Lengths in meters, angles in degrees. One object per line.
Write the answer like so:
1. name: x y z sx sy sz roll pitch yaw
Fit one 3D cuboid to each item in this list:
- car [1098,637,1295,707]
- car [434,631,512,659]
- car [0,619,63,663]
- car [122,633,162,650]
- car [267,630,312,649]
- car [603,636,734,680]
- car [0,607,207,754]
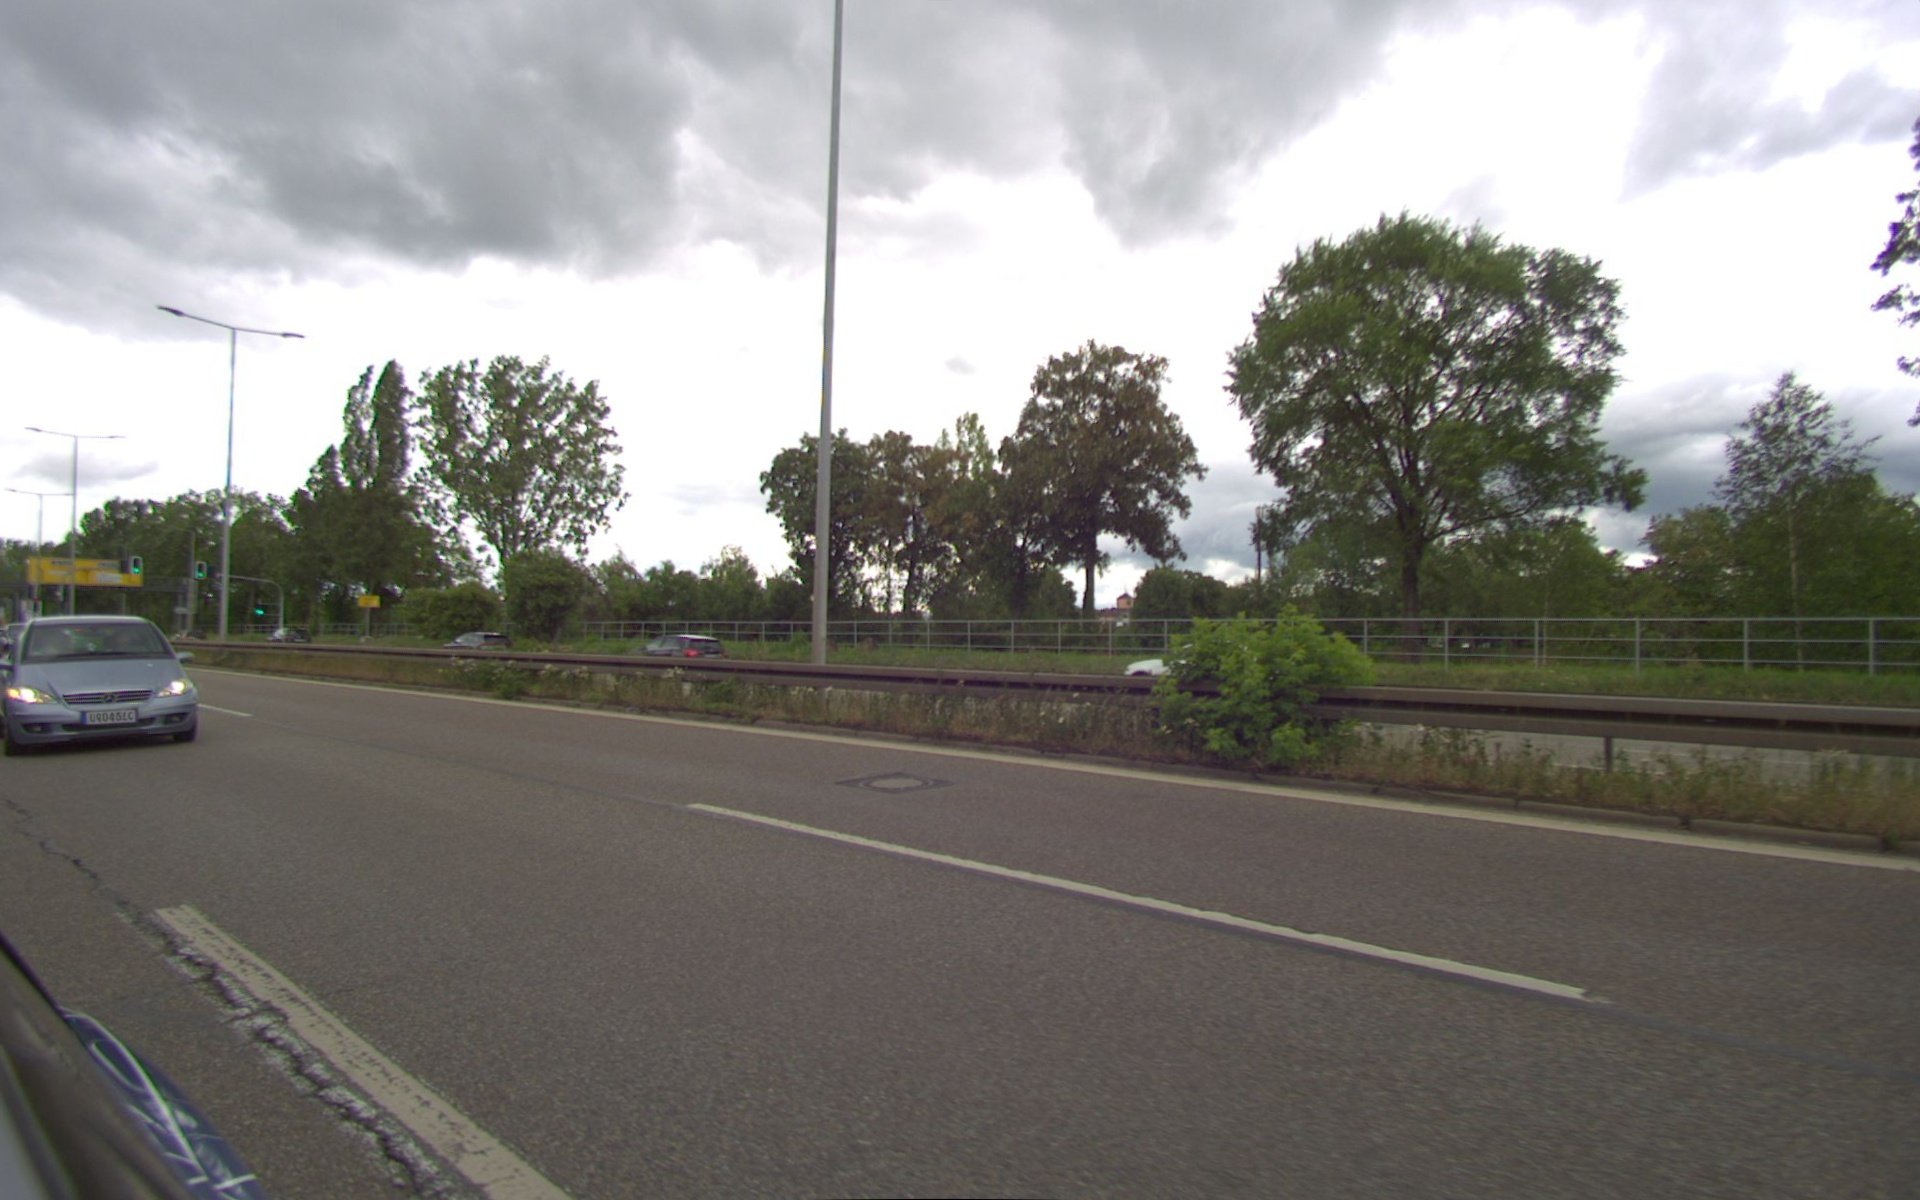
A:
1. car: 5.587 1.657 24.213 4.200 1.501 1.859 -2 -3 41
2. car: -23.847 2.198 49.480 4.784 1.309 1.643 -2 -3 40
3. car: -39.209 1.705 42.366 4.143 1.738 1.859 -2 -3 40
4. car: -57.546 2.905 71.156 4.064 1.114 1.529 -2 -3 41
5. car: -46.347 2.735 69.892 4.059 1.309 1.562 -2 -3 41
6. car: -9.324 1.809 32.162 4.784 1.309 1.643 -2 -3 40
7. car: -11.143 0.918 12.668 4.143 1.551 1.859 -2 -3 40
